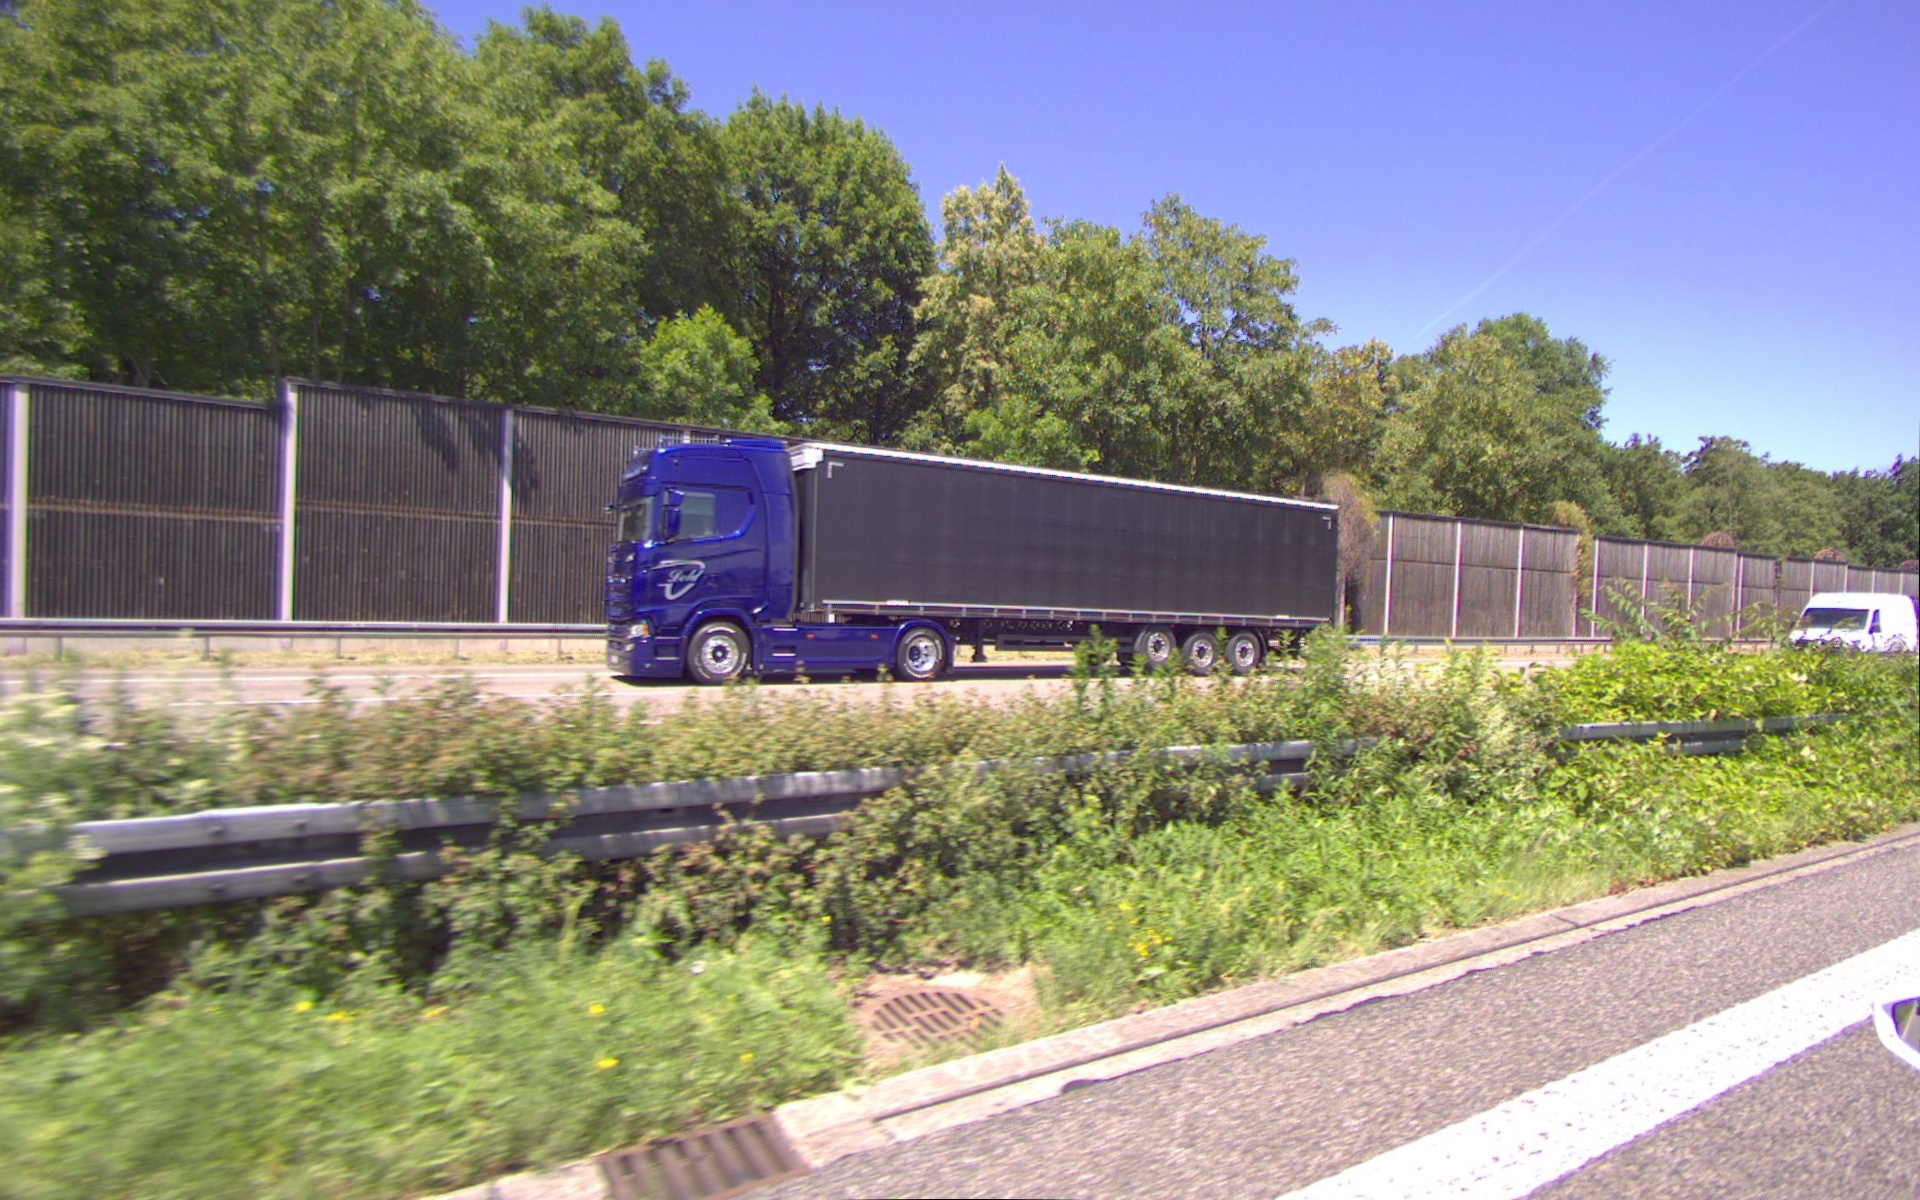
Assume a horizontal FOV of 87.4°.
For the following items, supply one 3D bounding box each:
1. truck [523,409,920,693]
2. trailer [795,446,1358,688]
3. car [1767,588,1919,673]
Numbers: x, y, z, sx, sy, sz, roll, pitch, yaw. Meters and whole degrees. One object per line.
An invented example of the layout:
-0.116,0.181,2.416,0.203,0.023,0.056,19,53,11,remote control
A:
-4.081,-0.640,17.451,6.047,4.147,2.884,2,0,-31,truck
3.164,-0.381,21.892,13.183,4.147,2.883,2,0,-32,trailer
29.656,0.997,33.497,6.715,2.575,2.152,1,2,-32,car
